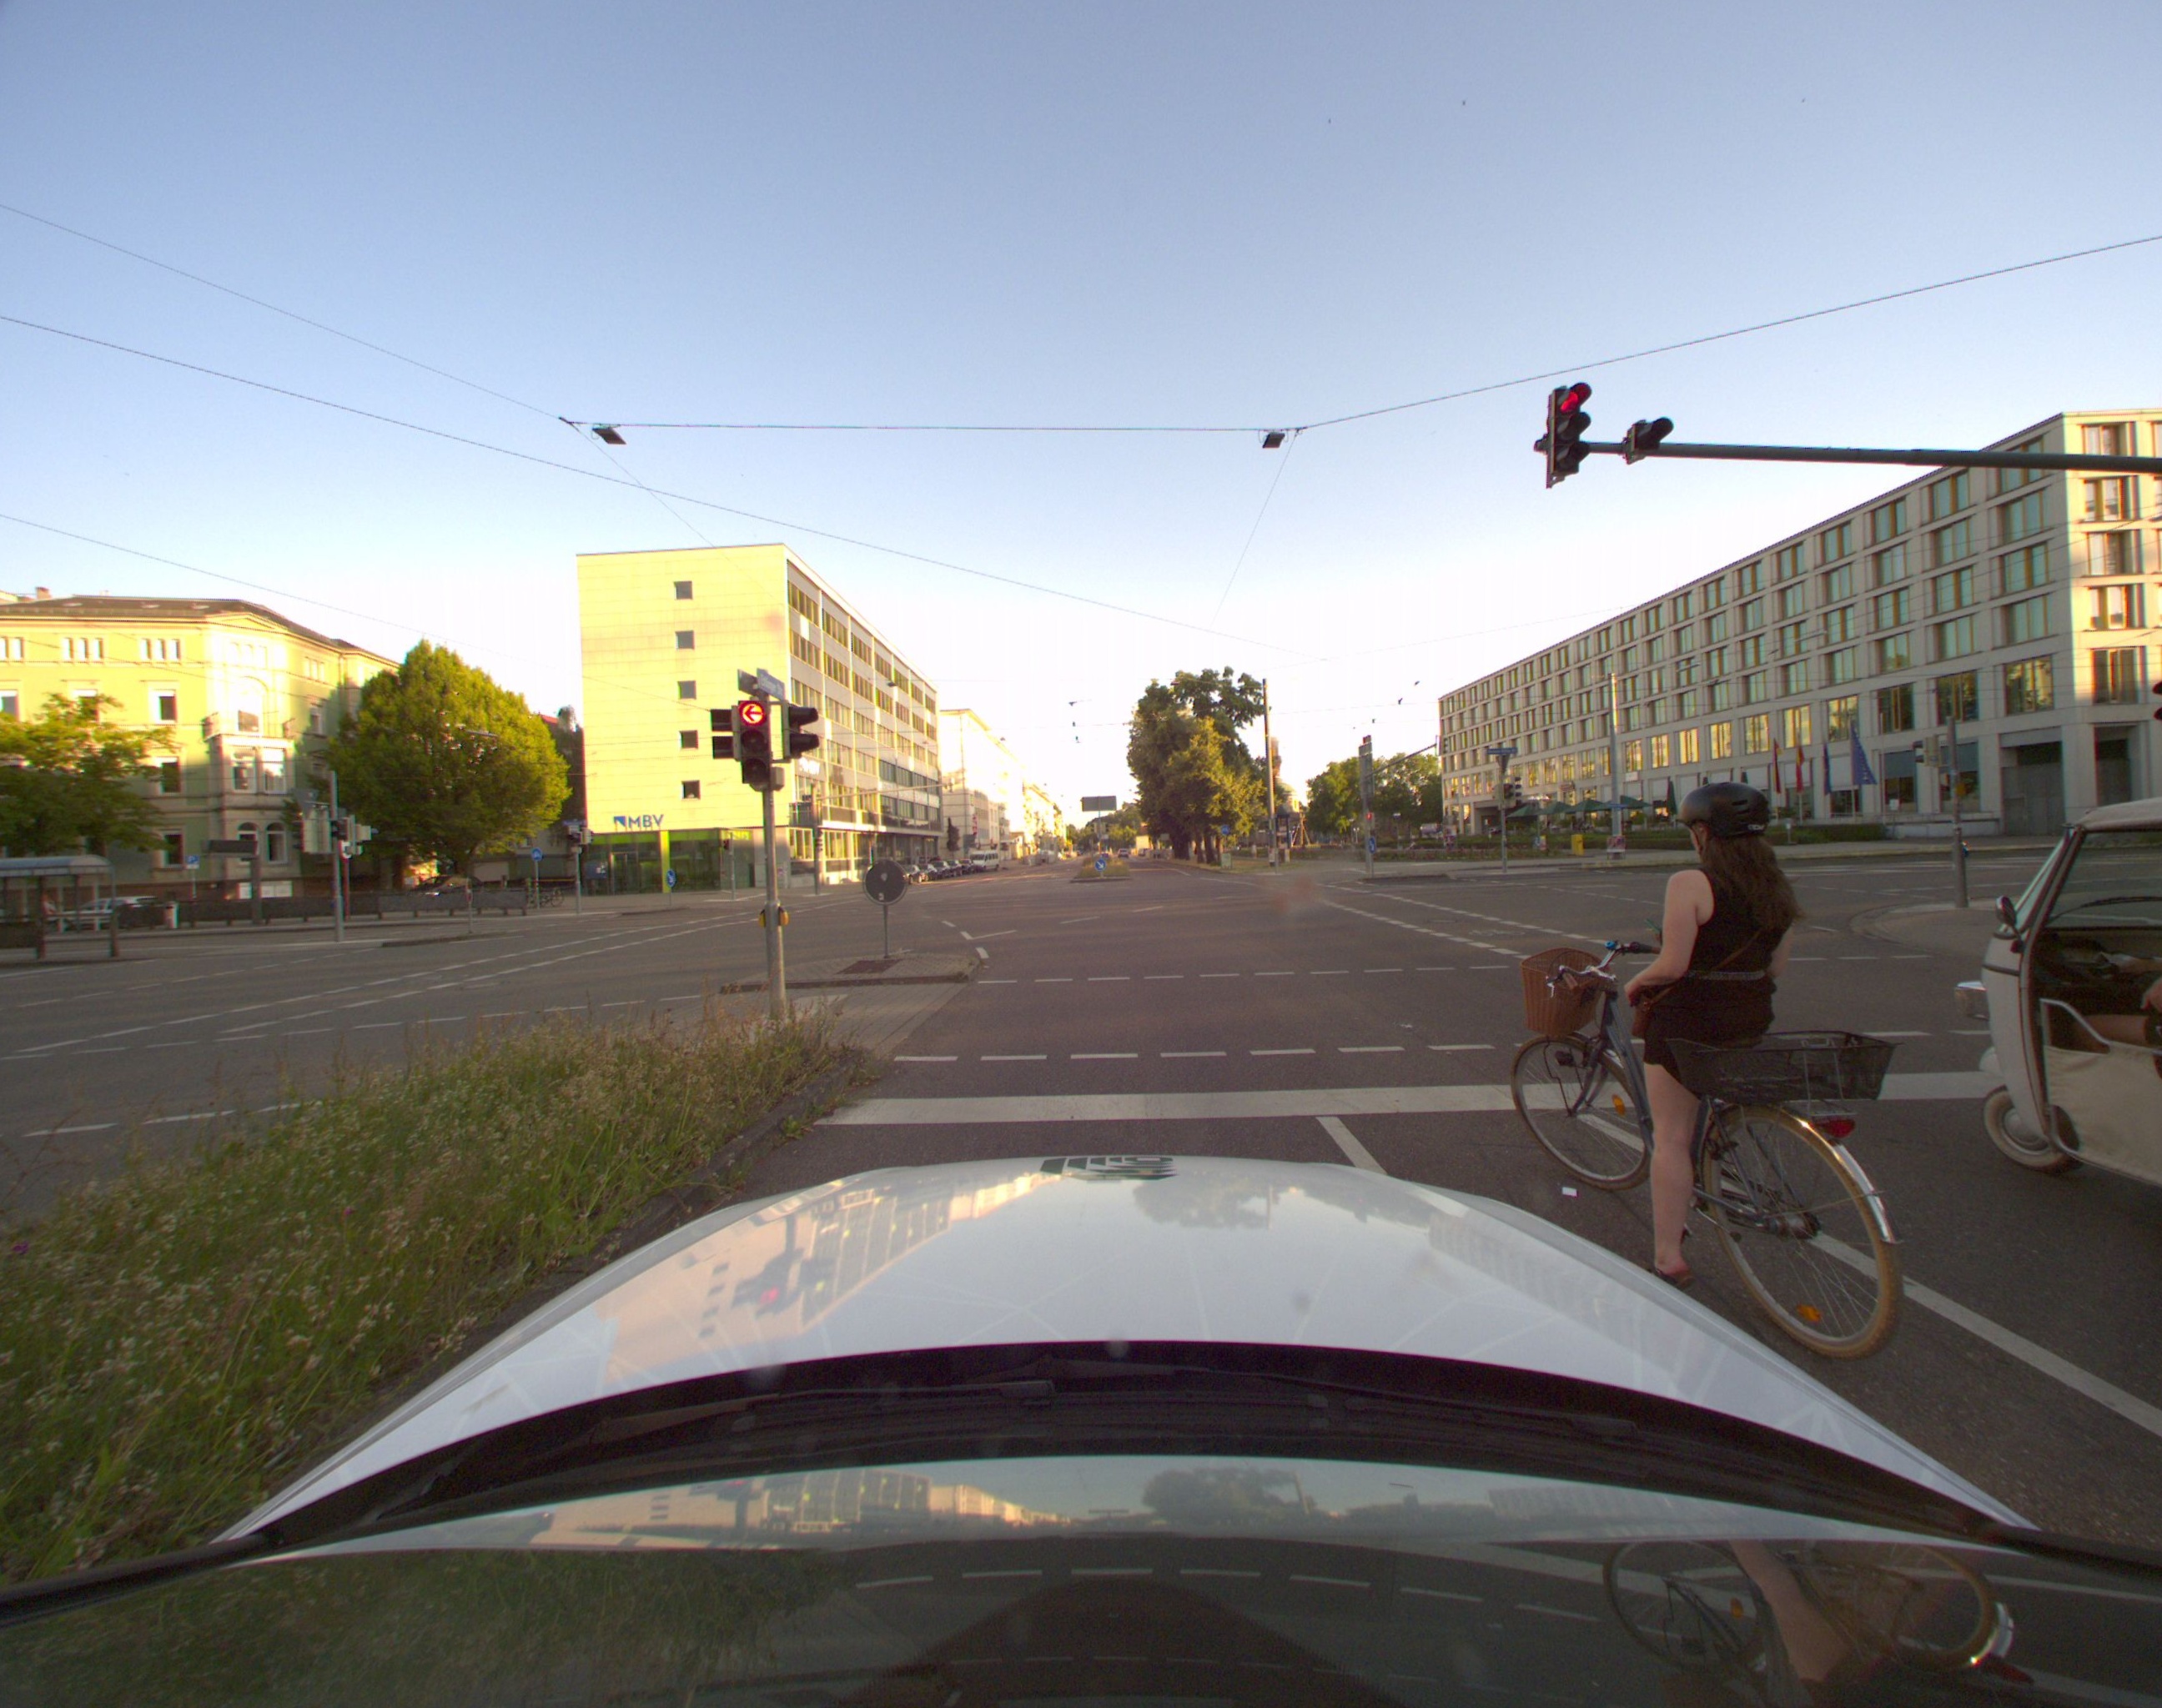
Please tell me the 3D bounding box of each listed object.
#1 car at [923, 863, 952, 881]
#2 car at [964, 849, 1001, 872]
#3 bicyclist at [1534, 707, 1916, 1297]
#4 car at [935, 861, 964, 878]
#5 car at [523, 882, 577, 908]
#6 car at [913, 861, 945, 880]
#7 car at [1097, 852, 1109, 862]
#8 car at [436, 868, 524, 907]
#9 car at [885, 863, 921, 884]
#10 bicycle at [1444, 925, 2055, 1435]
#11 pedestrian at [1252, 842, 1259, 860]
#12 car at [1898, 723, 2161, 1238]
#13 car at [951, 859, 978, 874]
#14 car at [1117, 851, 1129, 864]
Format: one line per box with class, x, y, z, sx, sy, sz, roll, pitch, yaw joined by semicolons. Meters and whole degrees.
car;-13.048;1.662;74.164;1.790;1.475;4.000;-3;-3;1
car;-11.105;0.776;92.189;2.161;2.385;6.010;-3;-2;13
bicyclist;2.086;0.432;2.751;0.626;1.693;0.749;-3;0;1
car;-12.760;1.499;79.220;1.787;1.475;4.006;-3;-2;6
car;-25.800;1.973;39.642;0.850;1.073;2.522;-3;0;1
car;-12.820;1.431;68.939;1.790;1.475;4.000;-3;-2;1
car;4.008;0.526;149.385;1.986;1.816;4.001;-3;0;1
car;-34.930;1.883;47.473;1.986;2.013;4.001;-3;0;1
car;-13.657;1.496;62.658;1.790;1.475;4.000;-3;-2;1
bicycle;2.125;0.904;3.065;0.635;1.069;2.070;-2;0;2
pedestrian;16.713;-0.267;78.176;0.506;1.668;0.531;-3;0;1
car;4.413;0.425;2.434;1.453;1.780;2.568;-2;1;4
car;-12.210;1.333;85.614;1.787;1.475;4.005;-3;-2;5
car;7.240;0.578;140.842;1.986;2.013;4.001;-3;0;1
